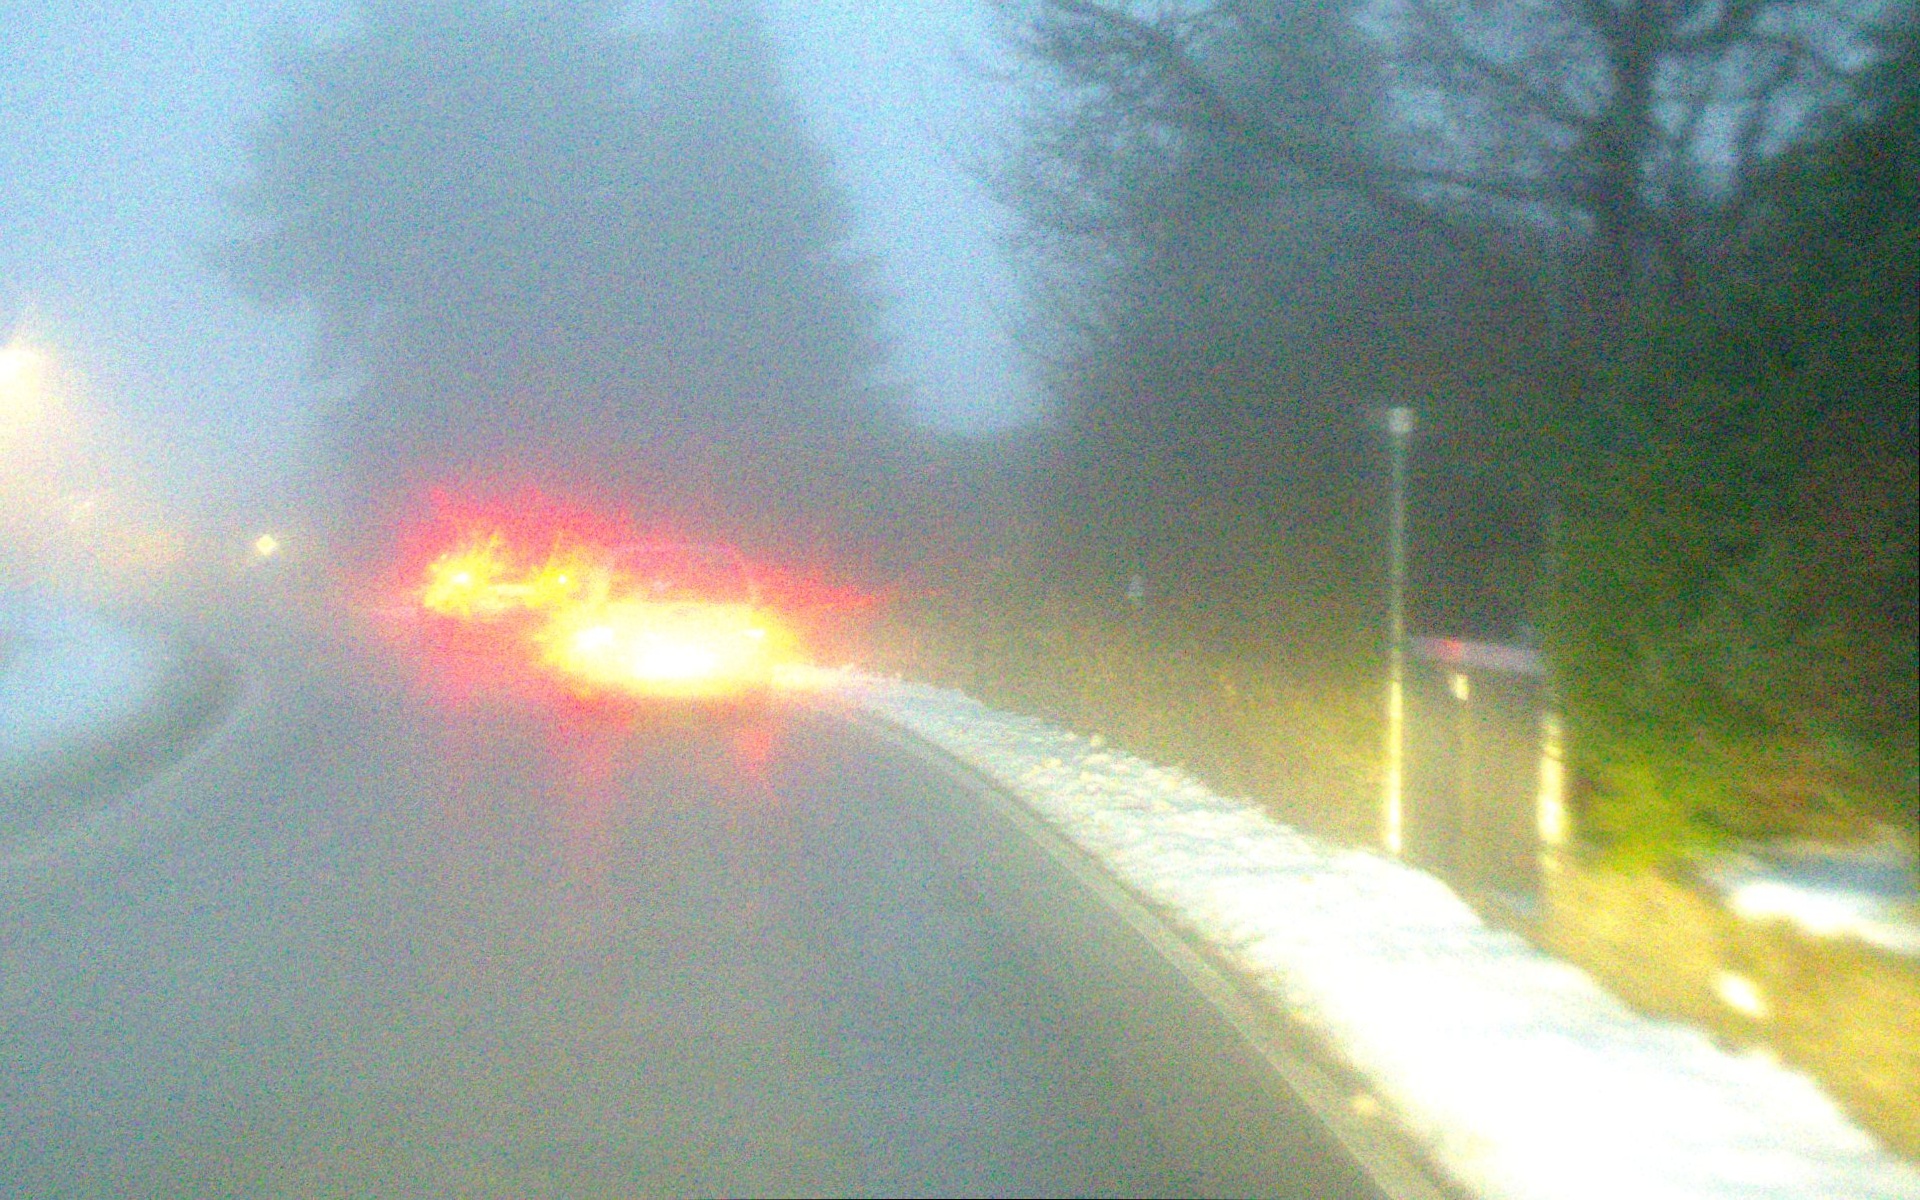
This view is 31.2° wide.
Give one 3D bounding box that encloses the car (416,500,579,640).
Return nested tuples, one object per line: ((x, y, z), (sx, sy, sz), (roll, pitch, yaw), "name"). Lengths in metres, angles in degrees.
((-6.181, -0.388, 45.607), (1.993, 1.744, 4.001), (1, 0, -10), "car")

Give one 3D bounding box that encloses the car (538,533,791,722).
((-2.631, 0.218, 29.857), (1.993, 1.503, 4.001), (1, 0, -7), "car")
